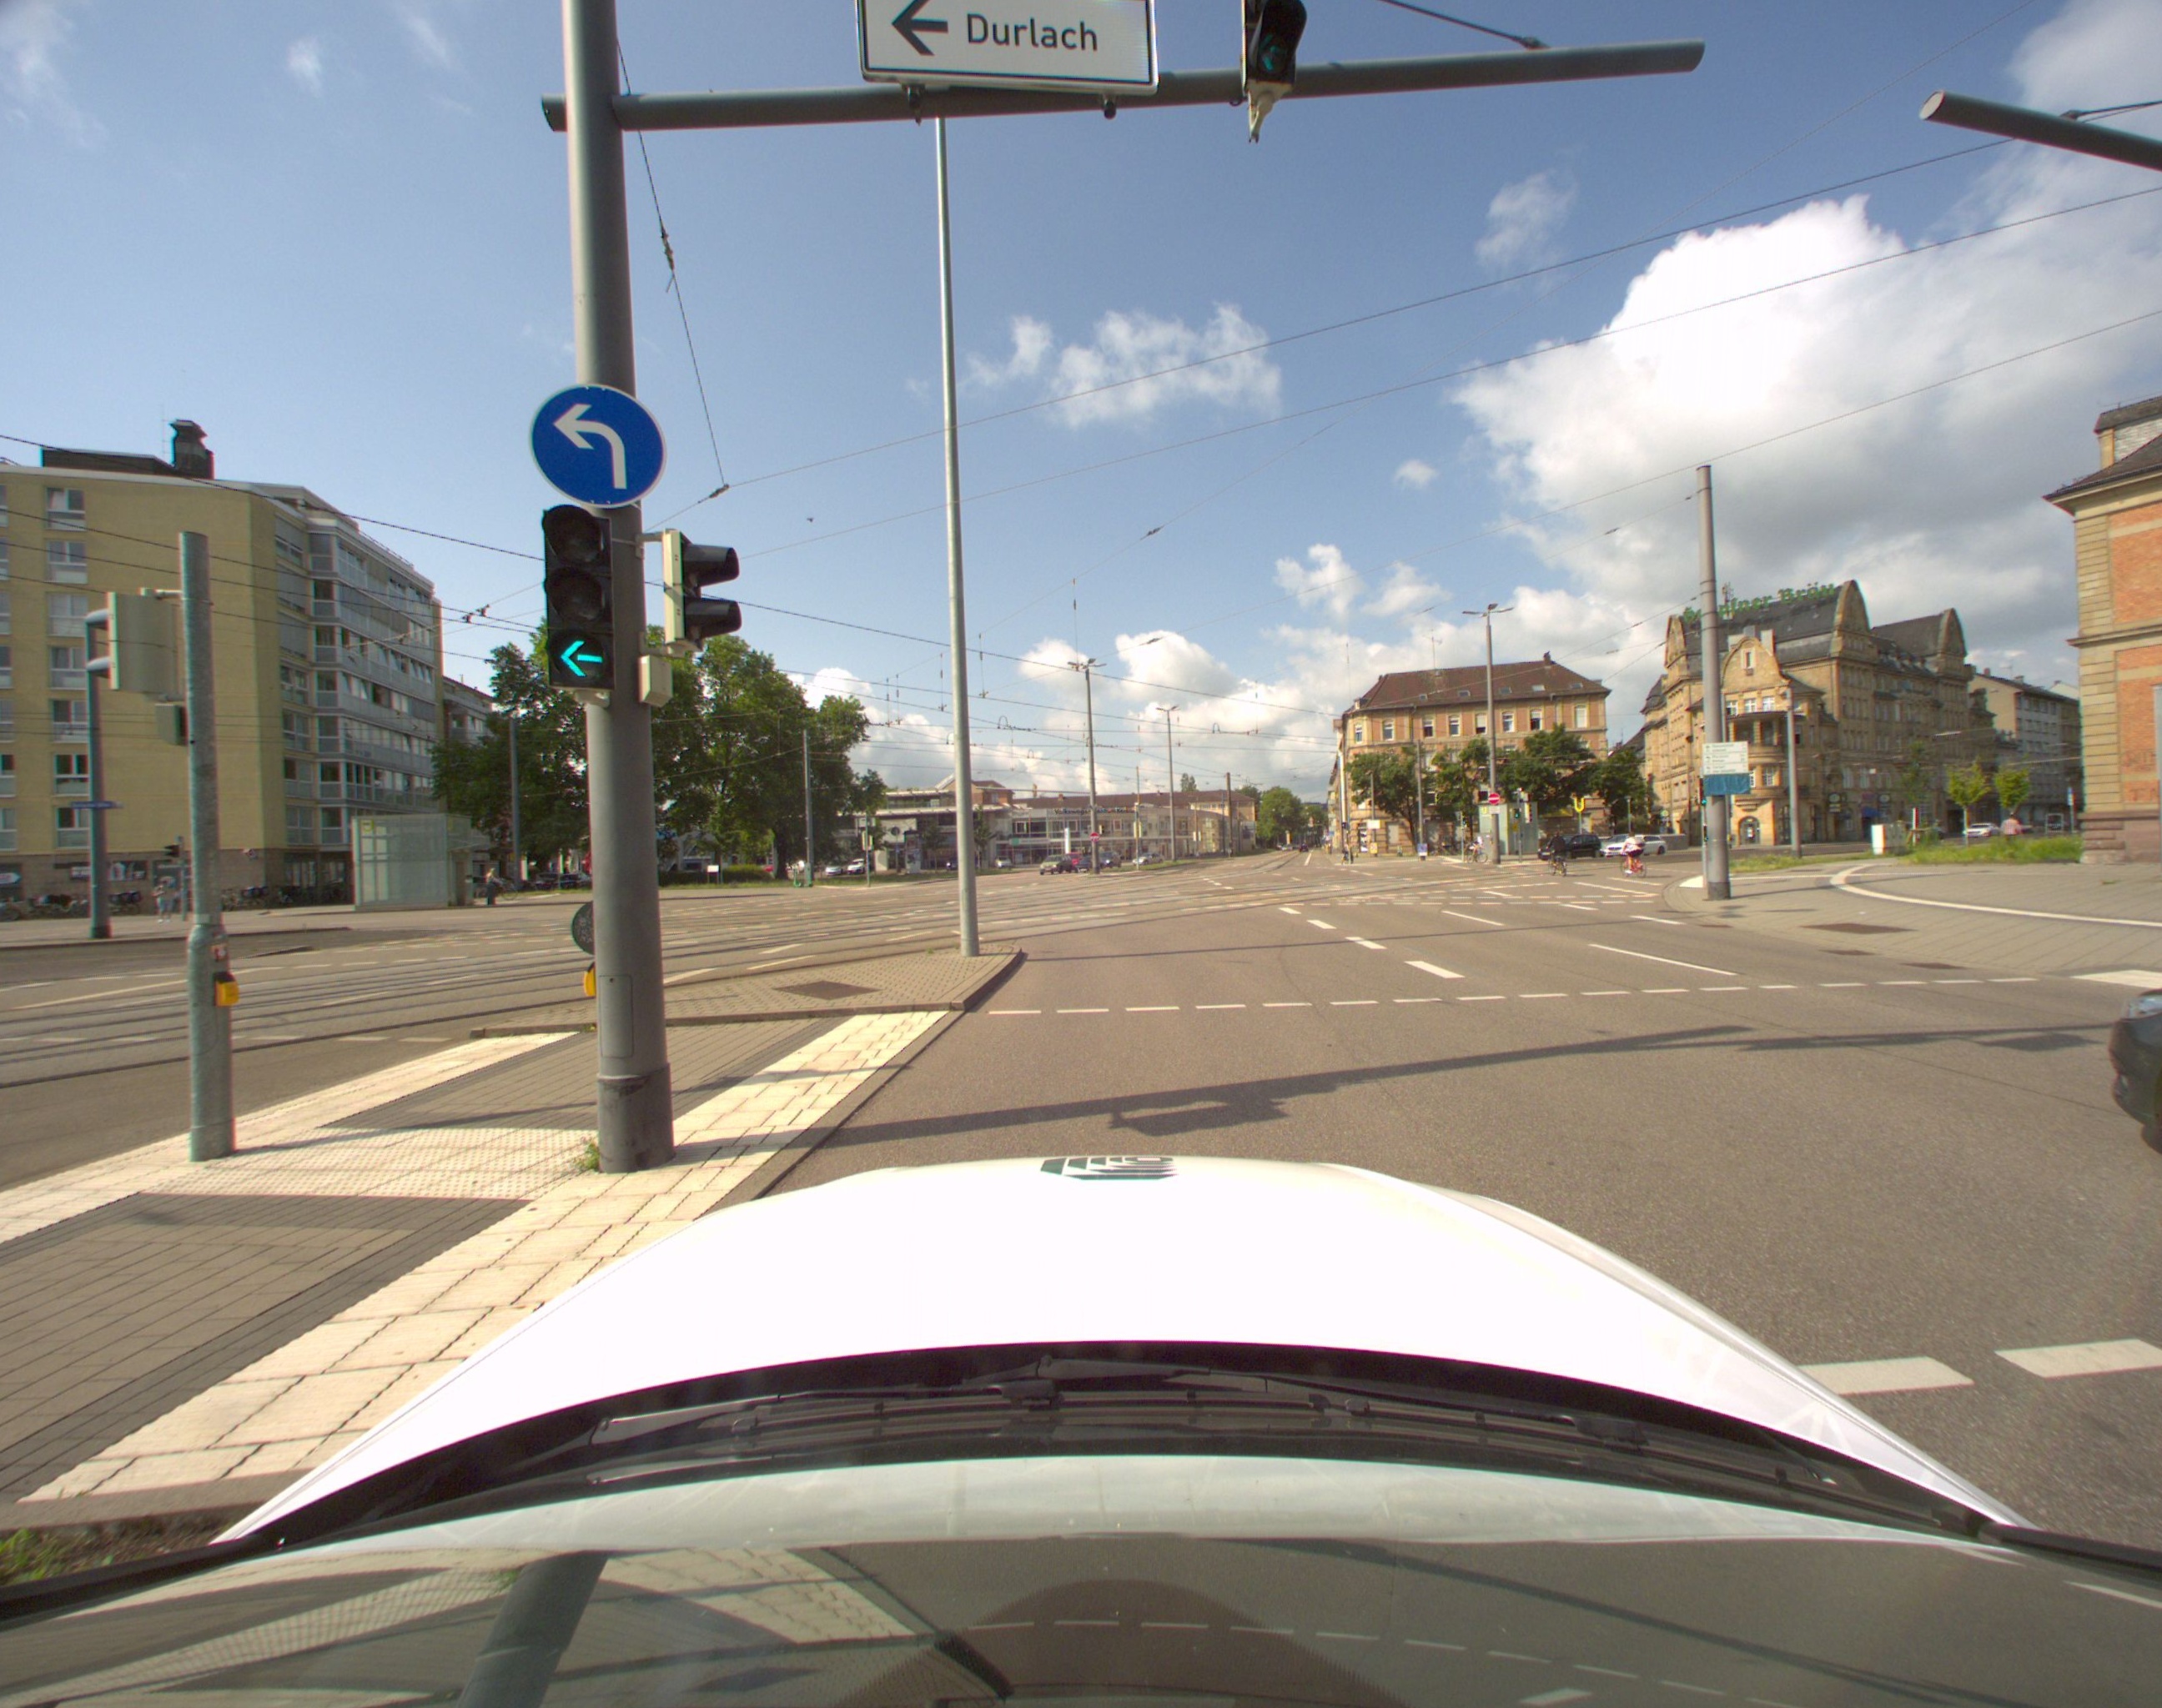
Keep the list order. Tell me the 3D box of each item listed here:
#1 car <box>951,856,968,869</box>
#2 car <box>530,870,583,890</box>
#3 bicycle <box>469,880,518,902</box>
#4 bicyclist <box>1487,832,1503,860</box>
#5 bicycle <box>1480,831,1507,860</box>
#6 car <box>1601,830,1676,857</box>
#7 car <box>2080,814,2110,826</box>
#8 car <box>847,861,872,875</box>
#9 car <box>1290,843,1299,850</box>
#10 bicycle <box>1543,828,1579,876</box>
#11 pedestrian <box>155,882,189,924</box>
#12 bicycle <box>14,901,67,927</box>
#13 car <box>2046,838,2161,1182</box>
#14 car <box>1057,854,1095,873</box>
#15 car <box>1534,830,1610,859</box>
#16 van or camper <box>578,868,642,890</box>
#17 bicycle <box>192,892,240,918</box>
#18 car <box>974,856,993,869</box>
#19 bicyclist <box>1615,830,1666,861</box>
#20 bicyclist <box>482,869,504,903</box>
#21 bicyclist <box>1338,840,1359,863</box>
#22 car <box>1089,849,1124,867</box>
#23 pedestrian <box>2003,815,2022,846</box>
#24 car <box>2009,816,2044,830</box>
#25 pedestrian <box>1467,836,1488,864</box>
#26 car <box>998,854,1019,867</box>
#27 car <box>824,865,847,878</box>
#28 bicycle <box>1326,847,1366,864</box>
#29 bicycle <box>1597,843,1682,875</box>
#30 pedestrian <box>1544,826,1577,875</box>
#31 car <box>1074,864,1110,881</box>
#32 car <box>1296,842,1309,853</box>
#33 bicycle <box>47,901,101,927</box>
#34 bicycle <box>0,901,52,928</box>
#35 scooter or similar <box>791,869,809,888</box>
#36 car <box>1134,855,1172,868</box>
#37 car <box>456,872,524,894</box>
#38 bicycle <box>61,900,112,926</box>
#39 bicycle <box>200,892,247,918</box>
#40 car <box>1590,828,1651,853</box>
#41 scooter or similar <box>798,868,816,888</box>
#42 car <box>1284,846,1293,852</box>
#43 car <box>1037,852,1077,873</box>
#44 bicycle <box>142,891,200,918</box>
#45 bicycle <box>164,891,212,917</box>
[{"bbox_3d":[-14.526,0.991,97.795,1.919,1.445,3.988,-2,0,-8],"label":"car"},{"bbox_3d":[-47.627,2.338,73.961,3.611,1.594,1.659,-2,0,-13],"label":"car"},{"bbox_3d":[-31.230,1.960,43.328,1.996,1.127,0.782,0,-1,-27],"label":"bicycle"},{"bbox_3d":[25.556,-0.476,50.267,0.571,1.671,0.656,-2,0,-2],"label":"bicyclist"},{"bbox_3d":[25.571,-0.519,50.506,0.727,1.777,1.636,-2,0,-2],"label":"bicycle"},{"bbox_3d":[36.591,-0.692,53.440,4.694,1.595,1.983,-3,0,-26],"label":"car"},{"bbox_3d":[138.656,-4.661,111.368,3.831,1.538,1.835,-2,0,-28],"label":"car"},{"bbox_3d":[-26.770,1.698,98.457,2.062,1.604,3.996,-2,0,-3],"label":"car"},{"bbox_3d":[54.813,-1.922,208.963,1.979,1.491,4.015,-1,0,14],"label":"car"},{"bbox_3d":[18.232,-0.057,30.961,0.996,1.725,2.483,-1,-1,26],"label":"bicycle"},{"bbox_3d":[-39.210,2.106,35.135,0.790,1.759,0.983,-2,0,-40],"label":"pedestrian"},{"bbox_3d":[-51.993,2.986,40.720,1.640,1.202,0.486,3,-2,-10],"label":"bicycle"},{"bbox_3d":[5.660,0.686,1.916,1.761,1.528,4.256,-1,0,0],"label":"car"},{"bbox_3d":[-0.348,0.790,66.930,1.978,1.519,4.018,-1,0,17],"label":"car"},{"bbox_3d":[30.613,-0.548,50.749,4.349,1.739,1.983,0,-1,-26],"label":"car"},{"bbox_3d":[-53.331,2.806,92.306,5.853,2.469,2.395,0,-1,3],"label":"van or camper"},{"bbox_3d":[-45.158,2.672,42.508,1.640,1.272,0.529,3,-2,-10],"label":"bicycle"},{"bbox_3d":[-11.655,0.992,97.224,1.915,1.445,3.996,-2,0,-2],"label":"car"},{"bbox_3d":[19.976,-0.284,29.117,0.987,1.028,1.215,1,-3,1],"label":"bicyclist"},{"bbox_3d":[-31.250,1.701,43.297,0.830,1.745,0.705,0,-1,-27],"label":"bicyclist"},{"bbox_3d":[19.855,-0.162,60.466,1.192,1.658,0.784,-2,0,-7],"label":"bicyclist"},{"bbox_3d":[2.403,0.347,74.589,1.977,1.552,4.021,-2,0,20],"label":"car"},{"bbox_3d":[45.323,-1.133,39.618,0.501,1.505,0.501,-2,0,-33],"label":"pedestrian"},{"bbox_3d":[113.090,-3.701,97.408,3.831,1.538,1.835,-2,0,-28],"label":"car"},{"bbox_3d":[25.944,-0.235,53.321,0.865,1.810,0.884,0,-1,-10],"label":"pedestrian"},{"bbox_3d":[-8.856,0.785,99.183,1.911,1.552,4.003,-2,0,3],"label":"car"},{"bbox_3d":[-29.753,2.131,98.744,1.991,1.574,3.991,0,0,-7],"label":"car"},{"bbox_3d":[19.622,0.101,60.421,2.669,1.170,0.898,-2,0,-8],"label":"bicycle"},{"bbox_3d":[19.974,0.211,29.251,0.989,1.028,3.109,1,-2,1],"label":"bicycle"},{"bbox_3d":[18.205,-0.118,30.935,0.983,1.841,1.002,-1,-1,27],"label":"pedestrian"},{"bbox_3d":[0.837,1.345,60.344,1.608,1.161,4.018,-1,0,17],"label":"car"},{"bbox_3d":[42.298,-1.304,155.231,1.977,2.013,4.020,-2,0,20],"label":"car"},{"bbox_3d":[-50.189,2.974,40.607,1.640,1.202,0.547,3,-2,-10],"label":"bicycle"},{"bbox_3d":[-52.058,2.982,40.147,1.640,1.202,0.486,3,-2,-10],"label":"bicycle"},{"bbox_3d":[-17.300,1.502,50.156,0.934,1.157,0.377,3,1,-43],"label":"scooter or similar"},{"bbox_3d":[8.267,0.829,93.006,4.507,1.464,1.760,0,-1,-44],"label":"car"},{"bbox_3d":[-43.485,2.124,59.997,3.570,1.530,1.989,0,-1,-17],"label":"car"},{"bbox_3d":[-50.258,2.978,41.171,1.640,1.202,0.486,3,-2,-10],"label":"bicycle"},{"bbox_3d":[-45.292,2.677,43.029,1.640,1.272,0.486,3,-2,-10],"label":"bicycle"},{"bbox_3d":[38.271,-0.959,57.790,4.006,1.600,1.740,-2,0,-25],"label":"car"},{"bbox_3d":[-16.787,1.455,49.868,0.377,1.157,0.935,4,1,36],"label":"scooter or similar"},{"bbox_3d":[49.567,-1.288,194.858,1.980,1.332,4.014,-2,0,12],"label":"car"},{"bbox_3d":[-1.744,0.635,60.724,1.806,1.513,4.018,-1,0,17],"label":"car"},{"bbox_3d":[-46.831,2.588,41.931,1.892,1.272,0.484,4,0,-24],"label":"bicycle"},{"bbox_3d":[-46.670,2.591,42.551,1.640,1.272,0.486,3,-2,-10],"label":"bicycle"}]
